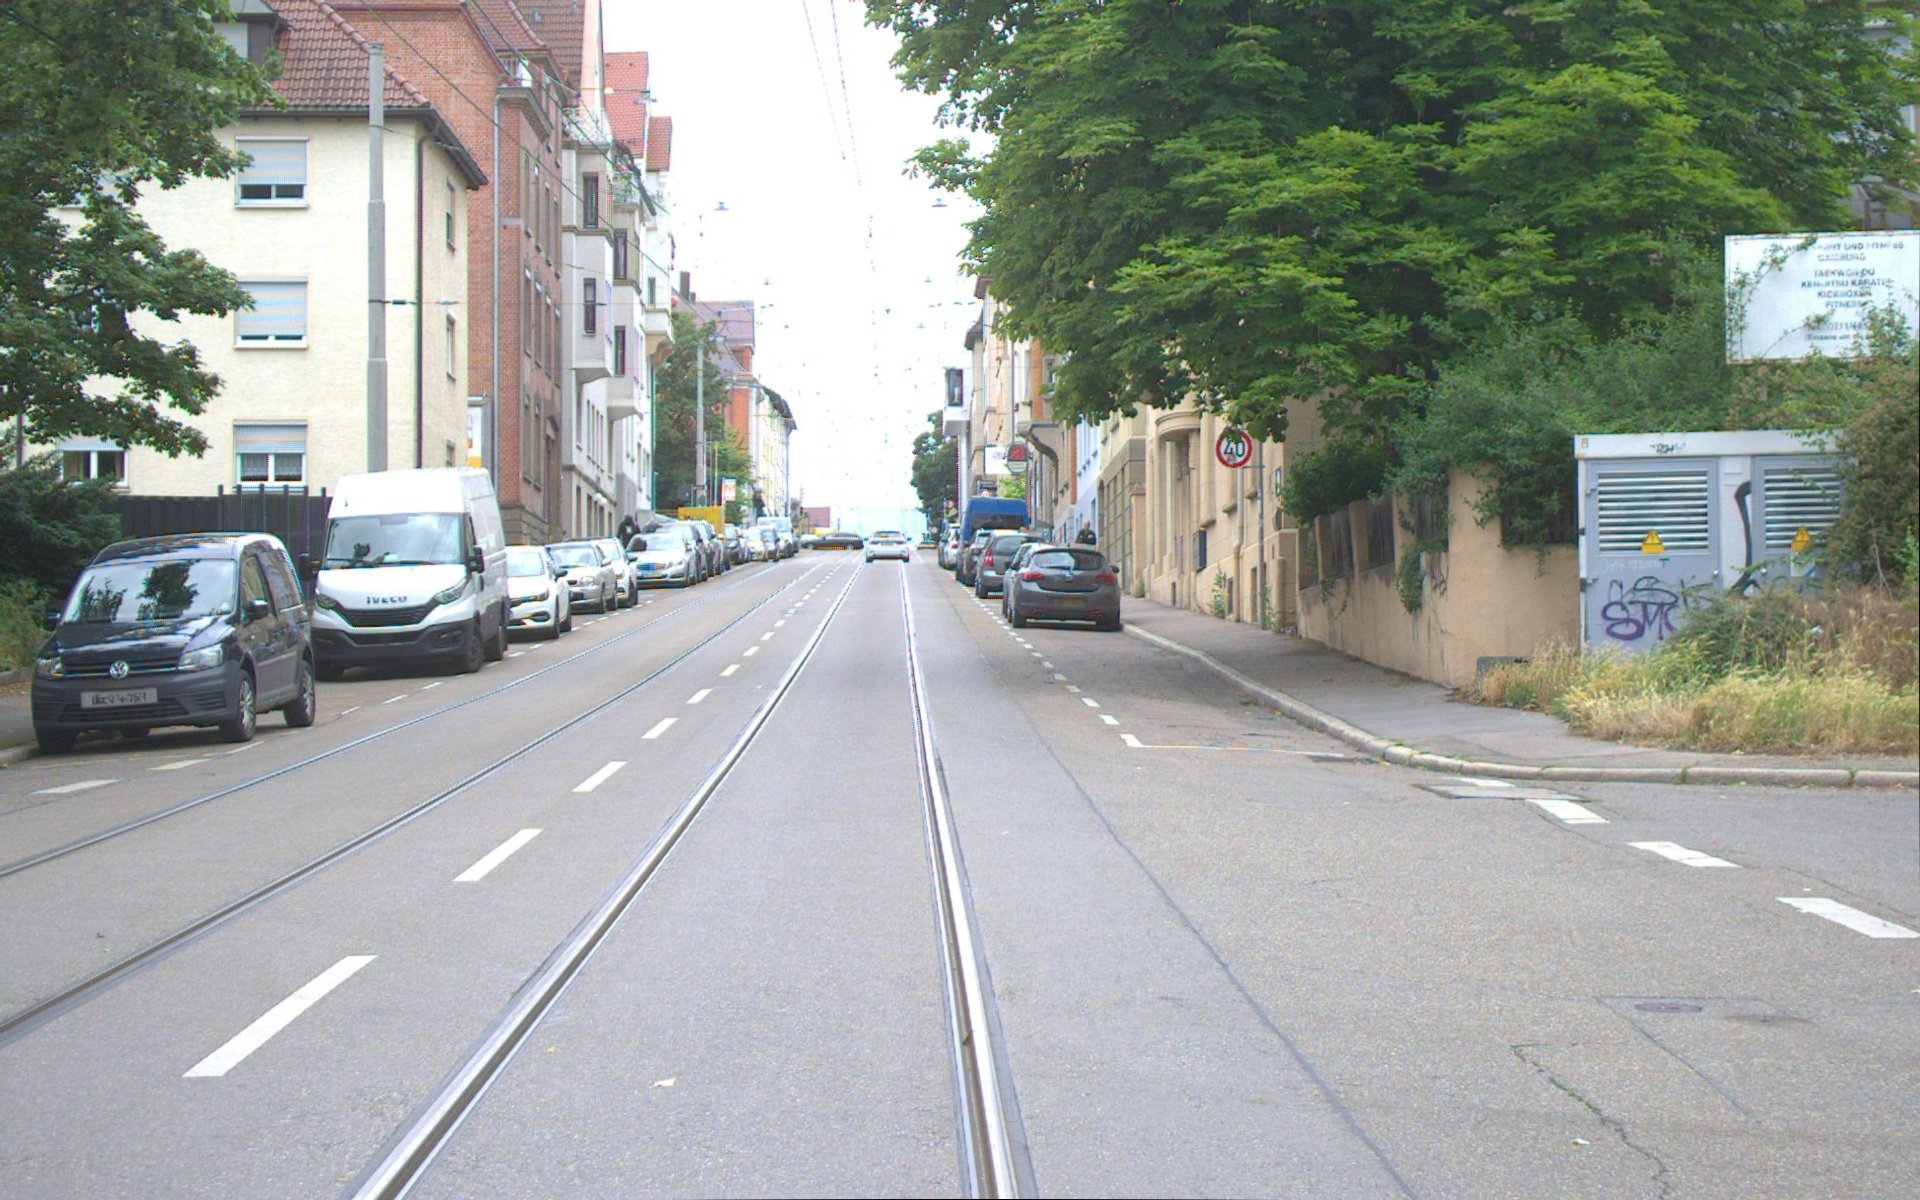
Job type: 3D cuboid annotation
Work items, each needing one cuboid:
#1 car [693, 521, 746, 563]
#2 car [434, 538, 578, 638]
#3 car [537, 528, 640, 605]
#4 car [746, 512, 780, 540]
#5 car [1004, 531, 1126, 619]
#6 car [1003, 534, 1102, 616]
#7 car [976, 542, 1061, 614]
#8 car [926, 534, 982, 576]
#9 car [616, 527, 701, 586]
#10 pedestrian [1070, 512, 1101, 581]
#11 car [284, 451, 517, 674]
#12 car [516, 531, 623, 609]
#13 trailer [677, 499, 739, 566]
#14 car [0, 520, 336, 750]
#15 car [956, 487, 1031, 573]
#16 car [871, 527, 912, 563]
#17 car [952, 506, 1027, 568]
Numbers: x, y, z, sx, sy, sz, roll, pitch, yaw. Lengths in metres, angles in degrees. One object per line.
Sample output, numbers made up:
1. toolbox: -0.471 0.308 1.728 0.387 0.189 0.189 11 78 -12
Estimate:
1. car: -8.899 -2.145 127.352 1.697 1.463 3.023 -2 1 0
2. car: -7.134 -0.225 54.373 1.719 1.398 4.314 -3 2 -1
3. car: -7.801 -0.727 72.444 1.827 1.424 4.628 -3 2 -3
4. car: -10.567 -3.981 184.580 1.697 1.428 4.482 -2 1 -2
5. car: 1.759 -0.435 58.937 1.839 1.398 4.168 2 1 -1
6. car: 1.738 -0.497 65.284 1.695 1.399 3.668 2 2 -1
7. car: 1.347 -0.538 80.217 1.827 1.513 4.028 2 2 -1
8. car: -0.215 -1.587 119.968 1.750 1.386 4.308 2 1 -2
9. car: -8.017 -1.179 91.730 1.827 1.424 4.839 -2 2 0
10. pedestrian: 3.151 -1.332 86.335 0.540 1.676 0.516 -4 -1 -9
11. car: -7.184 -0.536 44.795 2.158 2.598 6.220 -3 2 -3
12. car: -7.674 -0.607 67.879 1.600 1.363 3.807 -3 2 0
13. trailer: -8.453 -2.292 115.707 1.748 2.148 4.071 -2 2 0
14. car: -6.861 0.239 30.278 1.762 1.769 4.668 -3 1 0
15. car: 0.924 -1.964 97.865 1.993 2.368 5.056 0 1 -1
16. car: -2.934 -2.331 145.719 1.672 1.508 3.798 0 1 -2
17. car: 0.769 -1.691 92.521 1.779 1.525 4.193 4 1 -2
